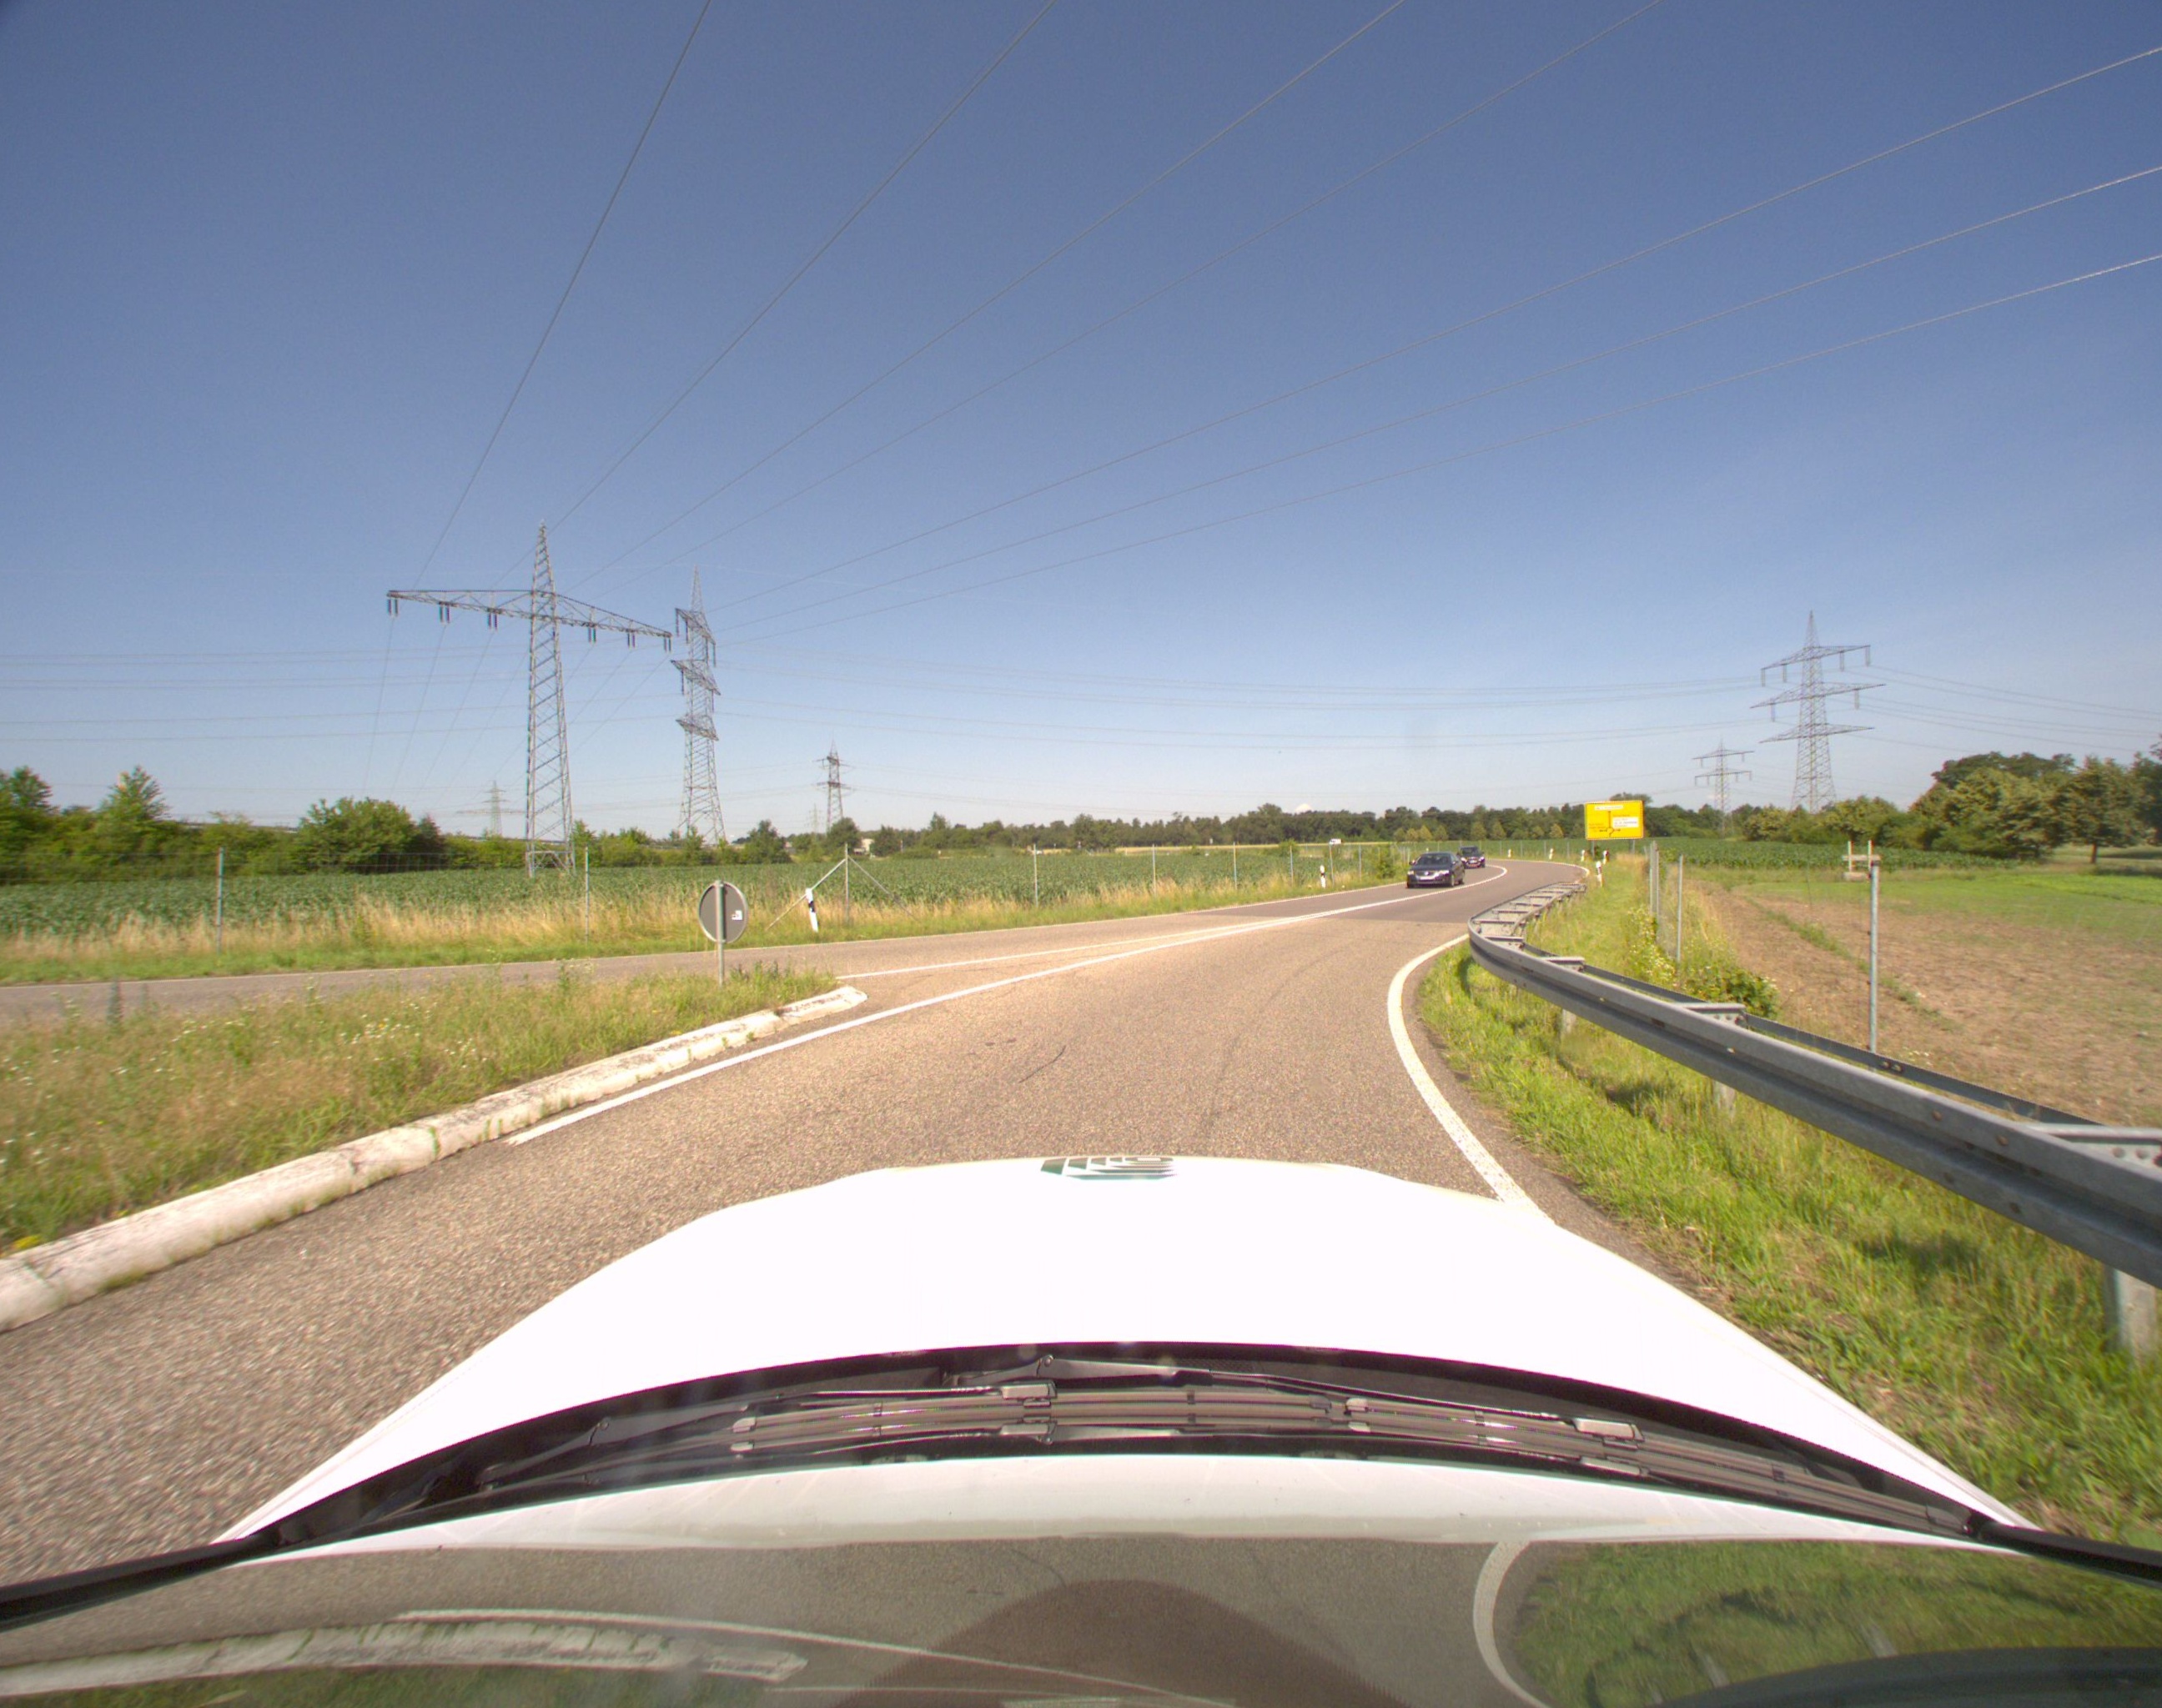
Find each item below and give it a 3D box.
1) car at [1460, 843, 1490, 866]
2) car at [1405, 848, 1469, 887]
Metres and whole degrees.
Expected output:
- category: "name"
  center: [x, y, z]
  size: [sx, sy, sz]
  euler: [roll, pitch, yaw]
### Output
- category: "car"
  center: [29.815, -0.002, 61.669]
  size: [1.965, 1.706, 4.286]
  euler: [0, 1, 26]
- category: "car"
  center: [15.042, 0.519, 34.289]
  size: [1.758, 1.456, 4.621]
  euler: [-3, -1, 32]
